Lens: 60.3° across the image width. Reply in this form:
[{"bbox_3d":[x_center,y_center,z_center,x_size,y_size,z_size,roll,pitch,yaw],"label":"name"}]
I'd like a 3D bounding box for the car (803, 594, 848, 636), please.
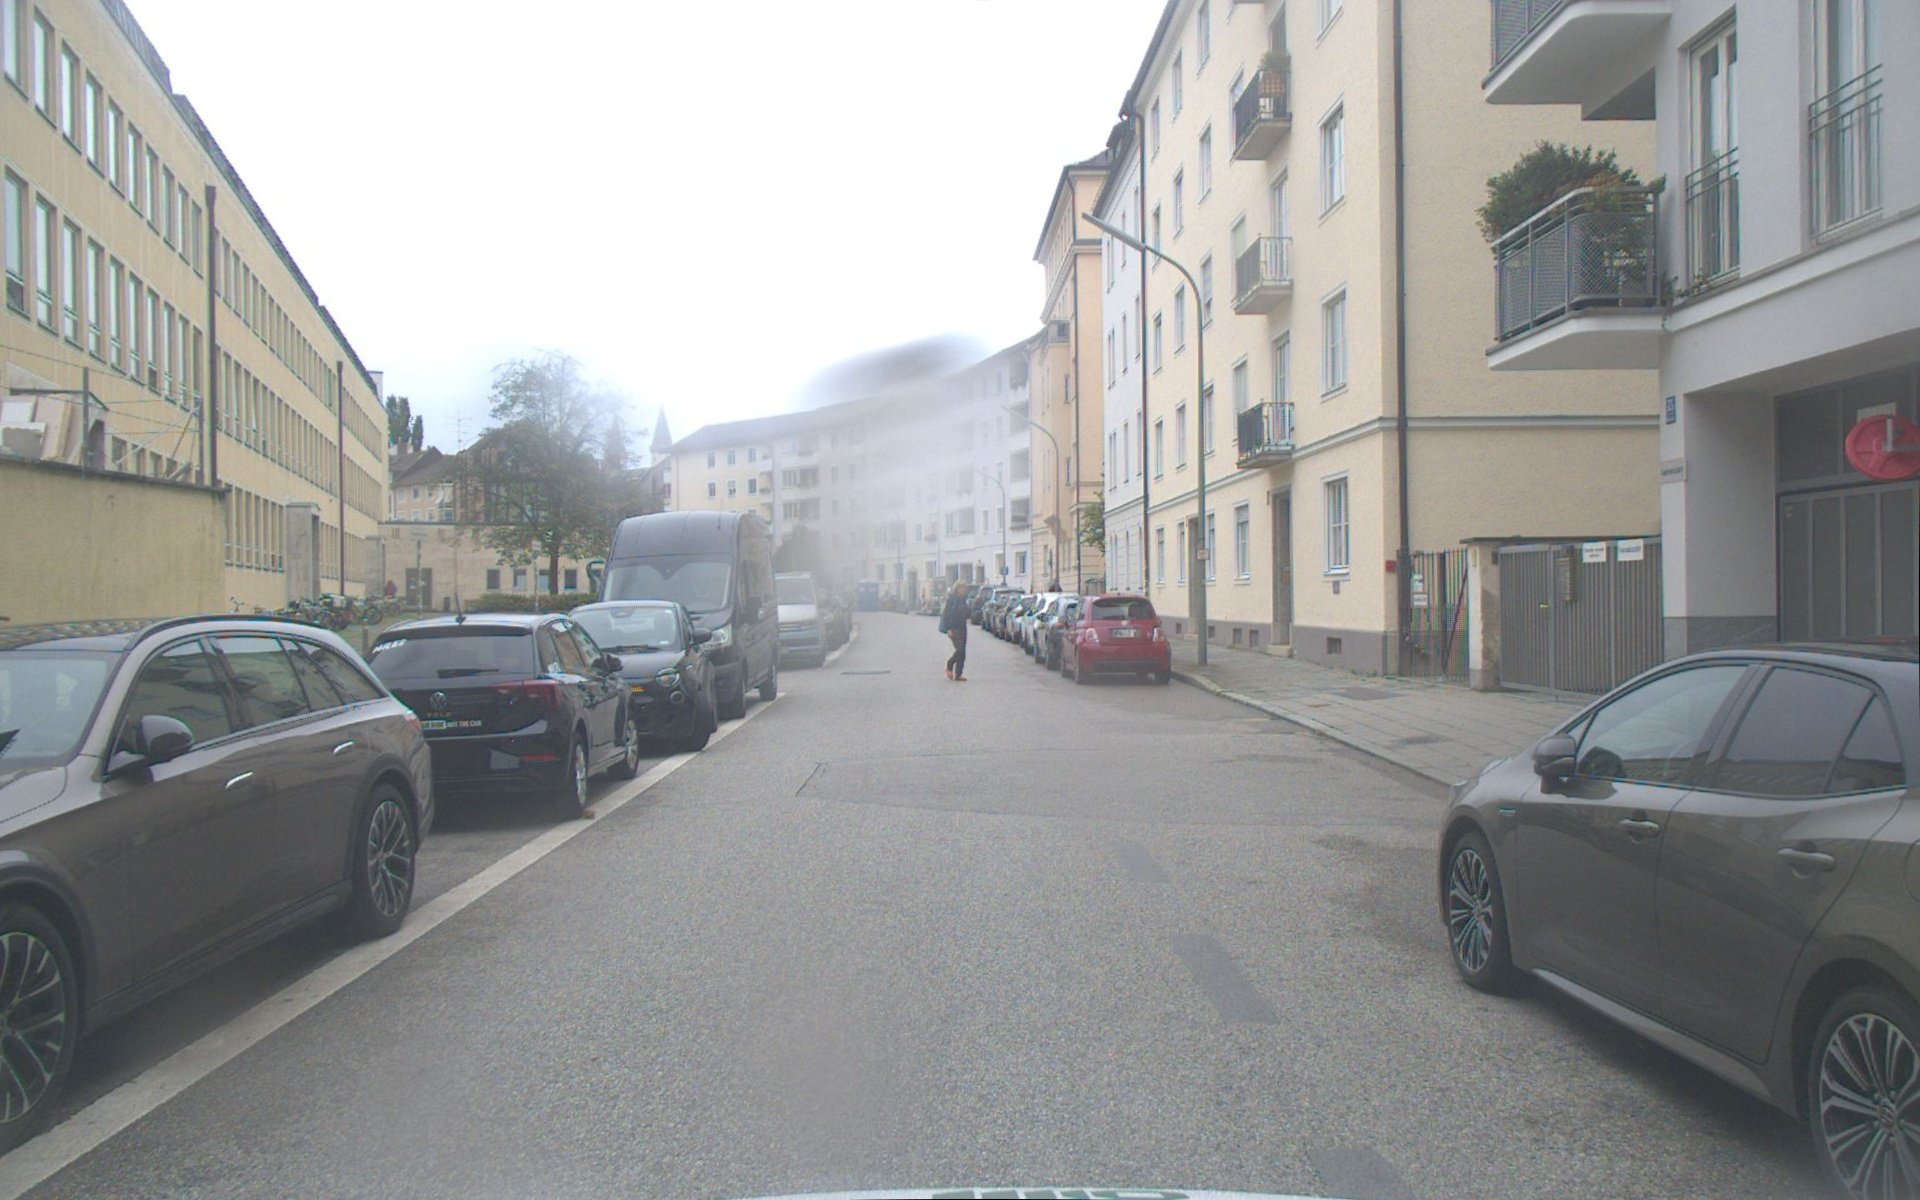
[{"bbox_3d":[-5.006,0.539,61.887,1.592,1.444,3.978,-2,0,-4],"label":"car"}]

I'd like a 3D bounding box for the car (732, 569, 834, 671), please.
[{"bbox_3d":[-3.743,0.364,35.599,1.845,1.965,4.598,-3,1,-3],"label":"car"}]

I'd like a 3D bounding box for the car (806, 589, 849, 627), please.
[{"bbox_3d":[-5.364,0.318,67.238,1.591,1.444,3.979,-2,0,-3],"label":"car"}]

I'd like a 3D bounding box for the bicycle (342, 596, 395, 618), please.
[{"bbox_3d":[-25.655,0.298,71.769,2.173,0.911,0.644,-1,-1,-20],"label":"bicycle"}]

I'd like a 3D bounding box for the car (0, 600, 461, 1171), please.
[{"bbox_3d":[-3.487,0.824,6.128,1.730,1.565,4.542,-3,0,2],"label":"car"}]

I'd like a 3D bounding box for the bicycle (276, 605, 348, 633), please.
[{"bbox_3d":[-21.081,0.621,53.833,2.173,0.849,0.492,-1,-1,-20],"label":"bicycle"}]

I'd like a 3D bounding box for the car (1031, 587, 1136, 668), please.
[{"bbox_3d":[2.493,0.540,34.247,1.658,1.517,4.341,-1,0,-2],"label":"car"}]

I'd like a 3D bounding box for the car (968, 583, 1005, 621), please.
[{"bbox_3d":[1.168,0.059,74.458,1.444,1.669,3.999,1,1,-2],"label":"car"}]

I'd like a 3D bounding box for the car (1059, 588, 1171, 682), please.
[{"bbox_3d":[2.688,0.568,29.301,1.563,1.535,3.800,-1,0,-1],"label":"car"}]

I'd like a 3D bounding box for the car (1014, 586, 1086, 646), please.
[{"bbox_3d":[2.412,0.399,45.011,1.567,1.517,3.797,0,1,-3],"label":"car"}]

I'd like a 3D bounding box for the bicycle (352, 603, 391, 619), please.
[{"bbox_3d":[-28.176,0.511,79.186,1.711,0.727,0.611,-1,-1,-20],"label":"bicycle"}]

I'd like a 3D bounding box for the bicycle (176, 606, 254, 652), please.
[{"bbox_3d":[-16.107,0.628,35.772,1.503,0.971,0.364,0,0,-18],"label":"bicycle"}]

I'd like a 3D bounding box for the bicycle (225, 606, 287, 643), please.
[{"bbox_3d":[-19.062,0.658,44.784,1.503,0.971,0.364,0,0,-18],"label":"bicycle"}]

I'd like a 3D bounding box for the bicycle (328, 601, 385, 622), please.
[{"bbox_3d":[-24.978,0.481,68.476,2.173,0.849,0.492,-1,-1,-20],"label":"bicycle"}]

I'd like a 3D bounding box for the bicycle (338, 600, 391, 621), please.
[{"bbox_3d":[-24.939,0.446,69.315,2.087,0.849,0.644,-1,-1,-20],"label":"bicycle"}]

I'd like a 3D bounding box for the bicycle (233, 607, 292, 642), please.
[{"bbox_3d":[-19.539,0.683,46.354,1.503,0.971,0.364,0,0,-18],"label":"bicycle"}]

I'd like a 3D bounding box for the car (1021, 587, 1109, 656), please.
[{"bbox_3d":[2.491,0.473,40.121,1.658,1.517,4.281,-1,1,-2],"label":"car"}]

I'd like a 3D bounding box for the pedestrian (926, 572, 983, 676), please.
[{"bbox_3d":[-0.097,0.420,28.440,0.782,1.758,0.669,1,-2,-20],"label":"pedestrian"}]

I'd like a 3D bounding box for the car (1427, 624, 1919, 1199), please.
[{"bbox_3d":[3.012,0.818,5.182,1.728,1.432,4.075,0,0,-4],"label":"car"}]

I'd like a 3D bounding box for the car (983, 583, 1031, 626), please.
[{"bbox_3d":[1.800,0.138,64.498,1.559,1.610,4.297,1,1,-2],"label":"car"}]

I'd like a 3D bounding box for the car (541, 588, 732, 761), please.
[{"bbox_3d":[-3.315,0.693,17.503,1.554,1.565,3.541,-1,1,-4],"label":"car"}]

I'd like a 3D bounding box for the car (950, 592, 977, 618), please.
[{"bbox_3d":[0.177,0.233,86.435,1.246,1.321,2.796,0,0,-3],"label":"car"}]

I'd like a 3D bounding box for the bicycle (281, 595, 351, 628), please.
[{"bbox_3d":[-21.805,0.384,56.055,2.173,1.056,0.492,-1,-1,-20],"label":"bicycle"}]

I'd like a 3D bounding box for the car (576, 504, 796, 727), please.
[{"bbox_3d":[-3.596,0.148,22.780,2.045,2.682,5.377,-1,1,1],"label":"car"}]

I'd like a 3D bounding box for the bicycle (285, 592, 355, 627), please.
[{"bbox_3d":[-22.589,0.324,58.411,2.210,1.189,1.042,0,0,-17],"label":"bicycle"}]

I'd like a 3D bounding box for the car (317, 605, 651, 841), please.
[{"bbox_3d":[-3.494,0.814,12.829,1.667,1.471,3.822,0,1,-3],"label":"car"}]

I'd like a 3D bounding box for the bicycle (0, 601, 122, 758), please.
[{"bbox_3d":[-7.850,0.627,13.935,0.663,1.213,1.777,0,0,1],"label":"bicycle"}]

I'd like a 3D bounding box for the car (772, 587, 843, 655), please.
[{"bbox_3d":[-4.189,0.548,46.045,1.667,1.720,4.026,-3,1,-2],"label":"car"}]

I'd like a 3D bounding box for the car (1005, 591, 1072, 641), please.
[{"bbox_3d":[2.337,0.470,50.047,1.658,1.457,3.943,1,0,-2],"label":"car"}]
